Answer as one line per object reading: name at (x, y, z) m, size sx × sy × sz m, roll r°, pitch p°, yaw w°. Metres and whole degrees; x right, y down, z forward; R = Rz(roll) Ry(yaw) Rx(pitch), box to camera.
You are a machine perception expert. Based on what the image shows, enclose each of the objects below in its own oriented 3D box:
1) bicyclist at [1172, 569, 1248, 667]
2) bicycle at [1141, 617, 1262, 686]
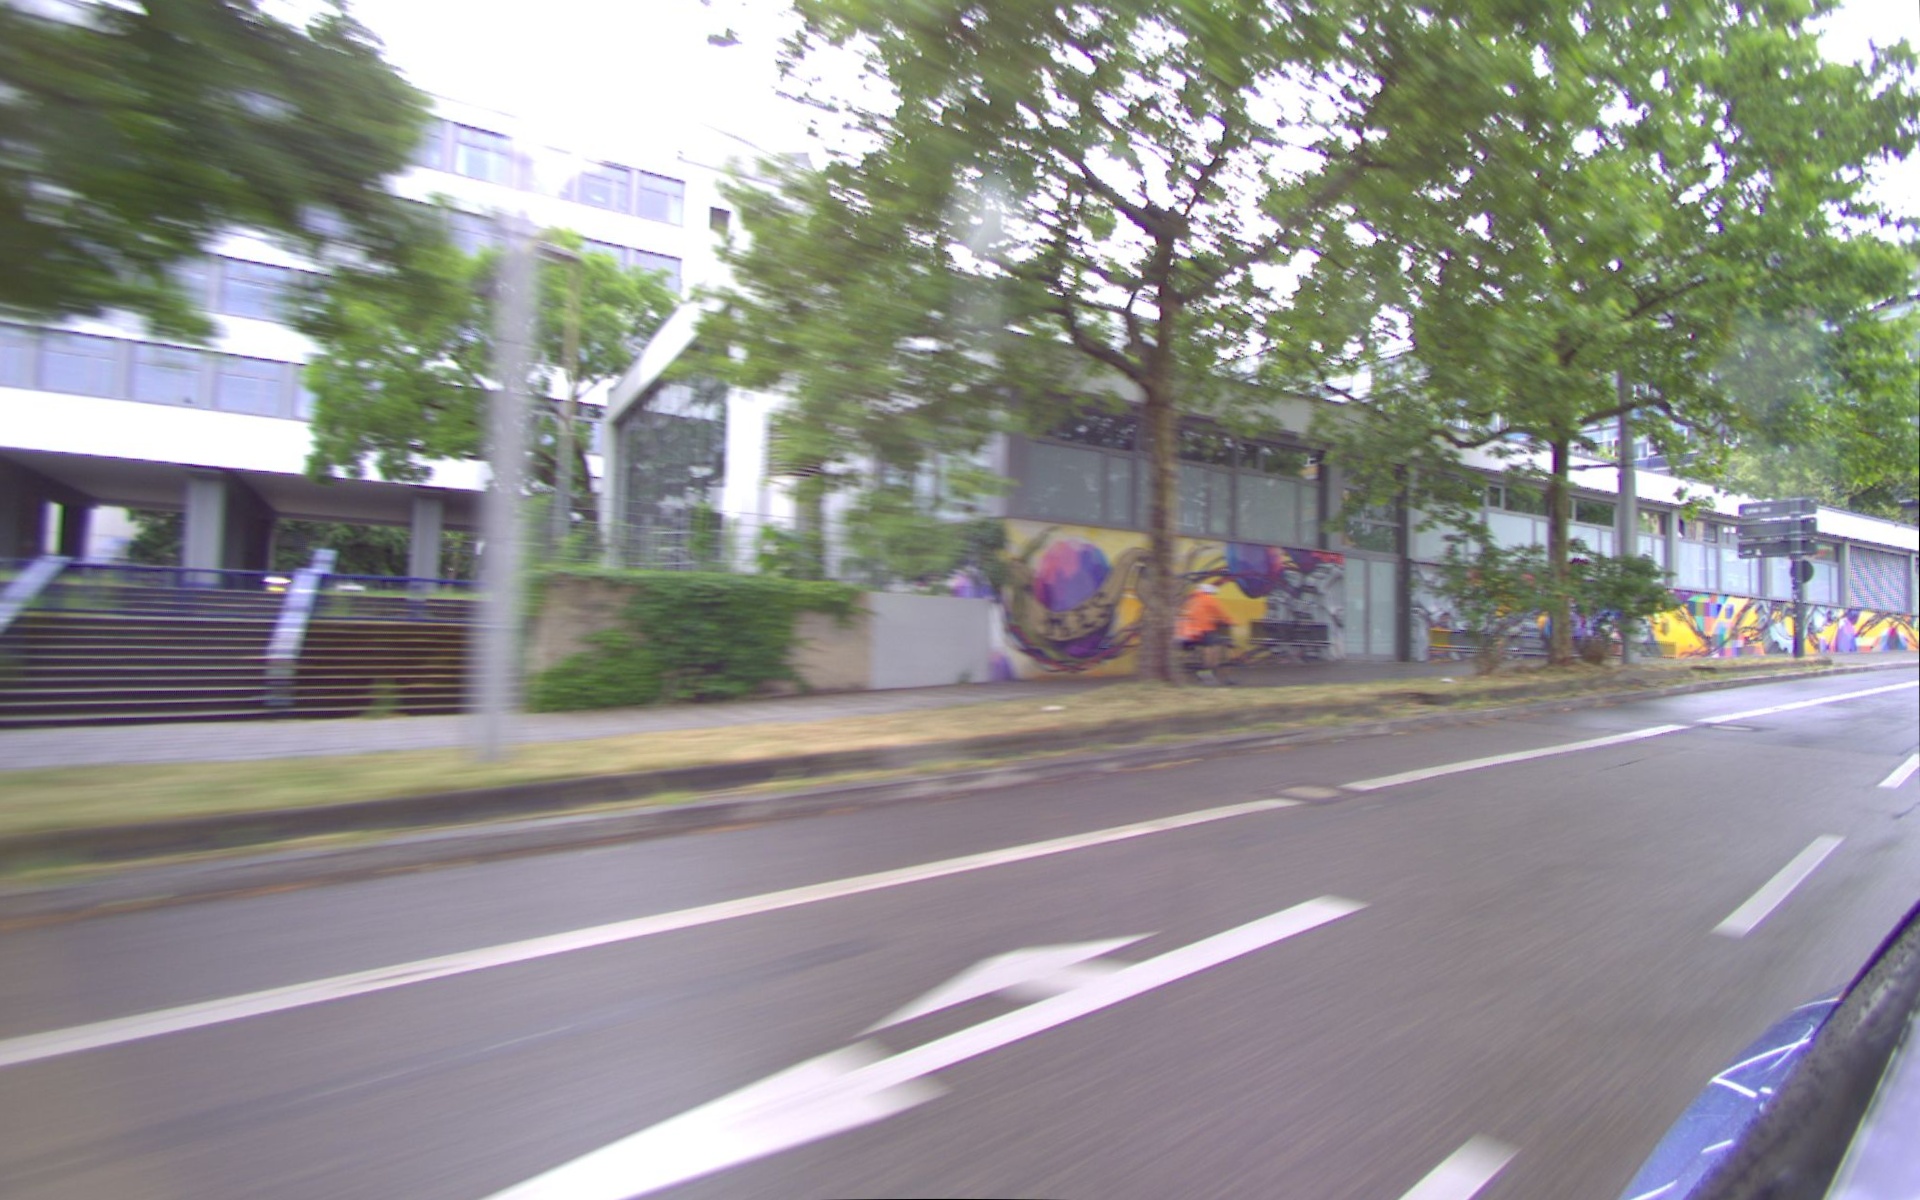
bicyclist at (4.384, 0.314, 17.746) m, size 1.026 × 1.649 × 0.809 m, roll 1°, pitch -2°, yaw -34°
bicycle at (4.223, 0.861, 17.624) m, size 2.156 × 1.126 × 0.809 m, roll 0°, pitch -1°, yaw -34°
